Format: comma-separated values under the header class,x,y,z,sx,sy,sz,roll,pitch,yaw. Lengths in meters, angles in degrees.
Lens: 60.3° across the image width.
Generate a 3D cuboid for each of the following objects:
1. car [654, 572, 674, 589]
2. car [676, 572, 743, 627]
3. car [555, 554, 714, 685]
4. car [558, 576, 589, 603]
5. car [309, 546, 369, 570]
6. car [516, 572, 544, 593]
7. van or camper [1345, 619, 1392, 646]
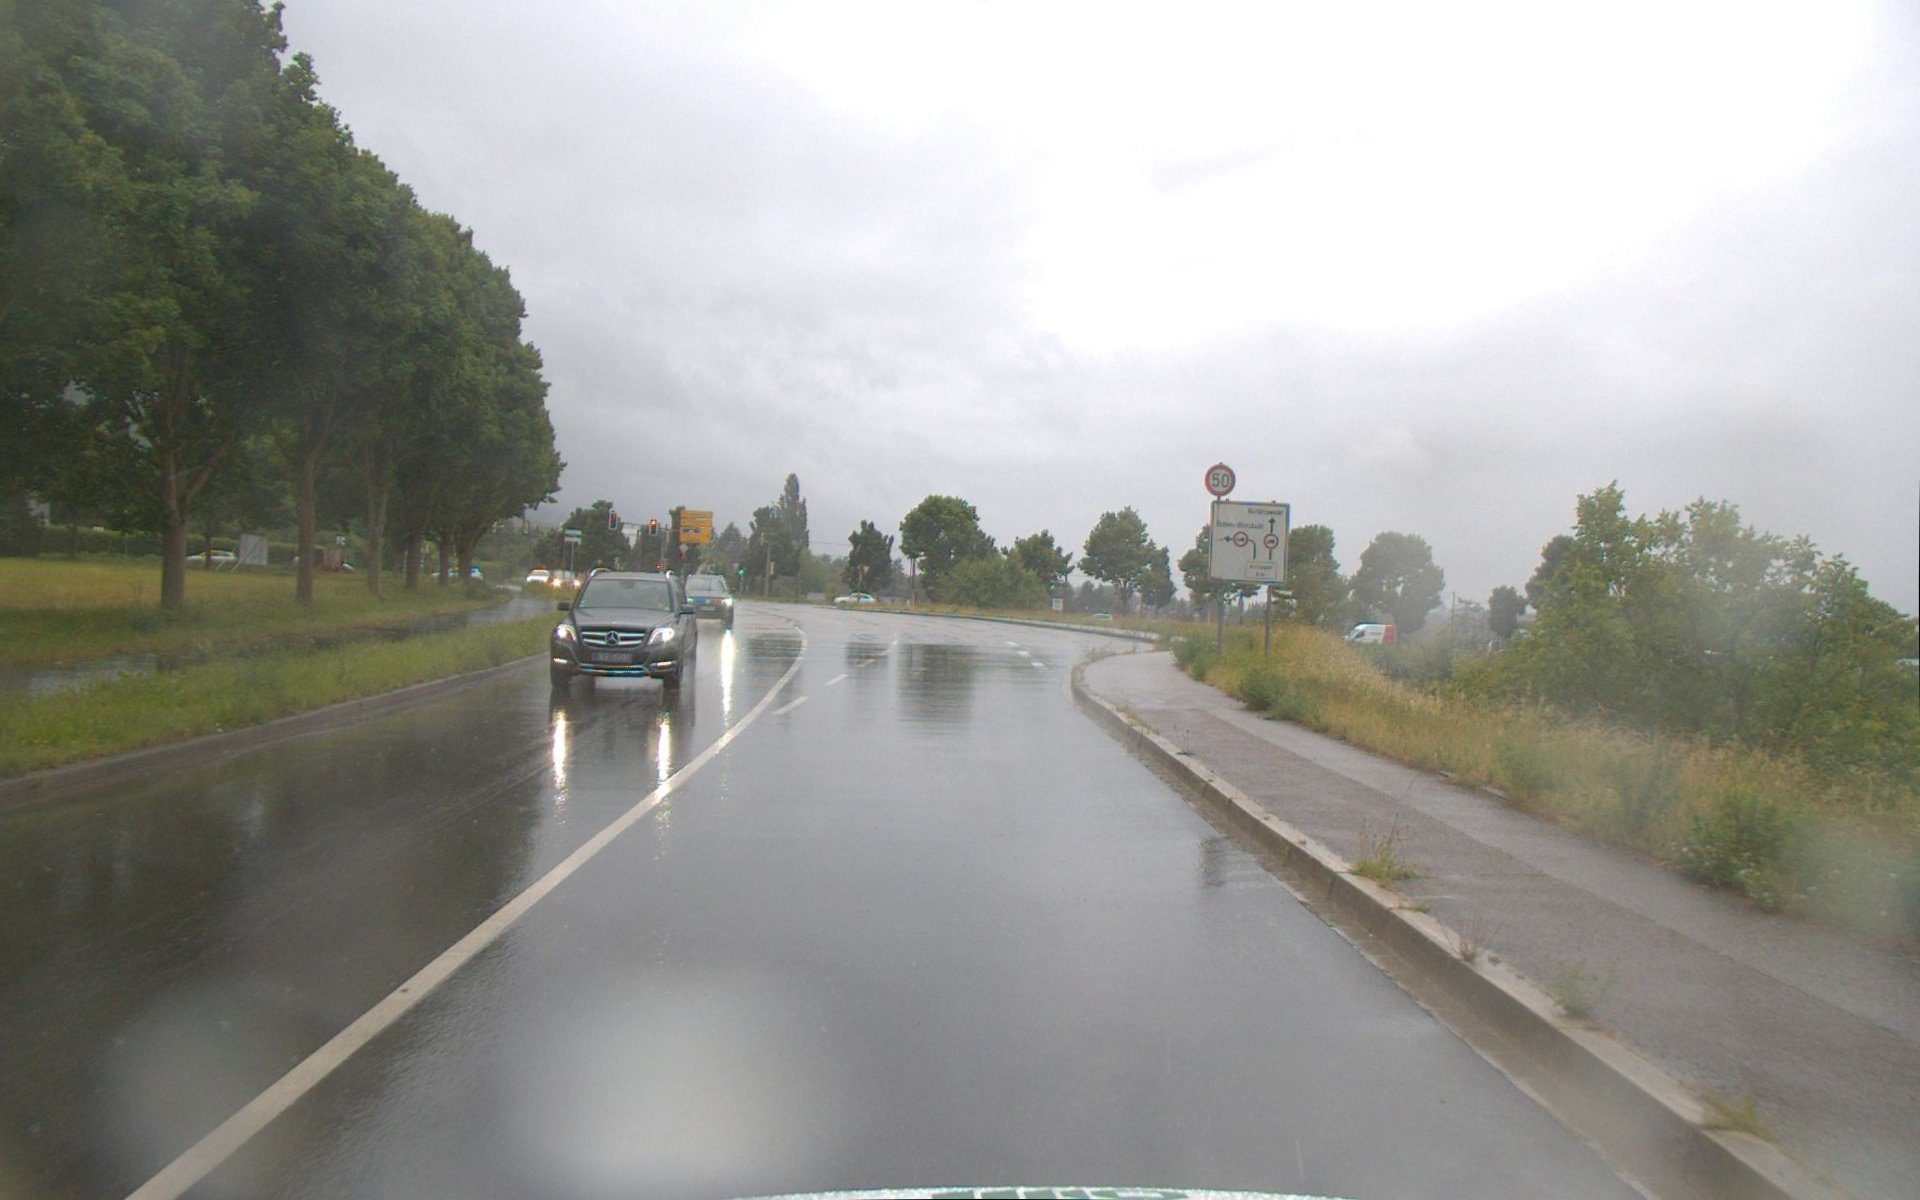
class,x,y,z,sx,sy,sz,roll,pitch,yaw
car,-28.818,-1.895,161.123,1.707,1.513,4.003,1,0,-9
car,-8.577,-0.040,56.837,1.886,1.774,4.285,1,0,-4
car,-4.714,0.247,24.477,1.706,1.733,4.220,1,0,-3
car,-25.536,-0.715,109.307,1.852,1.615,4.104,5,-1,-13
car,-50.273,-3.380,133.957,4.302,1.607,1.726,4,0,-15
car,-34.426,-1.377,132.299,1.850,1.601,4.620,1,0,-18
van or camper,43.449,3.454,175.873,4.582,2.395,2.018,5,0,12
